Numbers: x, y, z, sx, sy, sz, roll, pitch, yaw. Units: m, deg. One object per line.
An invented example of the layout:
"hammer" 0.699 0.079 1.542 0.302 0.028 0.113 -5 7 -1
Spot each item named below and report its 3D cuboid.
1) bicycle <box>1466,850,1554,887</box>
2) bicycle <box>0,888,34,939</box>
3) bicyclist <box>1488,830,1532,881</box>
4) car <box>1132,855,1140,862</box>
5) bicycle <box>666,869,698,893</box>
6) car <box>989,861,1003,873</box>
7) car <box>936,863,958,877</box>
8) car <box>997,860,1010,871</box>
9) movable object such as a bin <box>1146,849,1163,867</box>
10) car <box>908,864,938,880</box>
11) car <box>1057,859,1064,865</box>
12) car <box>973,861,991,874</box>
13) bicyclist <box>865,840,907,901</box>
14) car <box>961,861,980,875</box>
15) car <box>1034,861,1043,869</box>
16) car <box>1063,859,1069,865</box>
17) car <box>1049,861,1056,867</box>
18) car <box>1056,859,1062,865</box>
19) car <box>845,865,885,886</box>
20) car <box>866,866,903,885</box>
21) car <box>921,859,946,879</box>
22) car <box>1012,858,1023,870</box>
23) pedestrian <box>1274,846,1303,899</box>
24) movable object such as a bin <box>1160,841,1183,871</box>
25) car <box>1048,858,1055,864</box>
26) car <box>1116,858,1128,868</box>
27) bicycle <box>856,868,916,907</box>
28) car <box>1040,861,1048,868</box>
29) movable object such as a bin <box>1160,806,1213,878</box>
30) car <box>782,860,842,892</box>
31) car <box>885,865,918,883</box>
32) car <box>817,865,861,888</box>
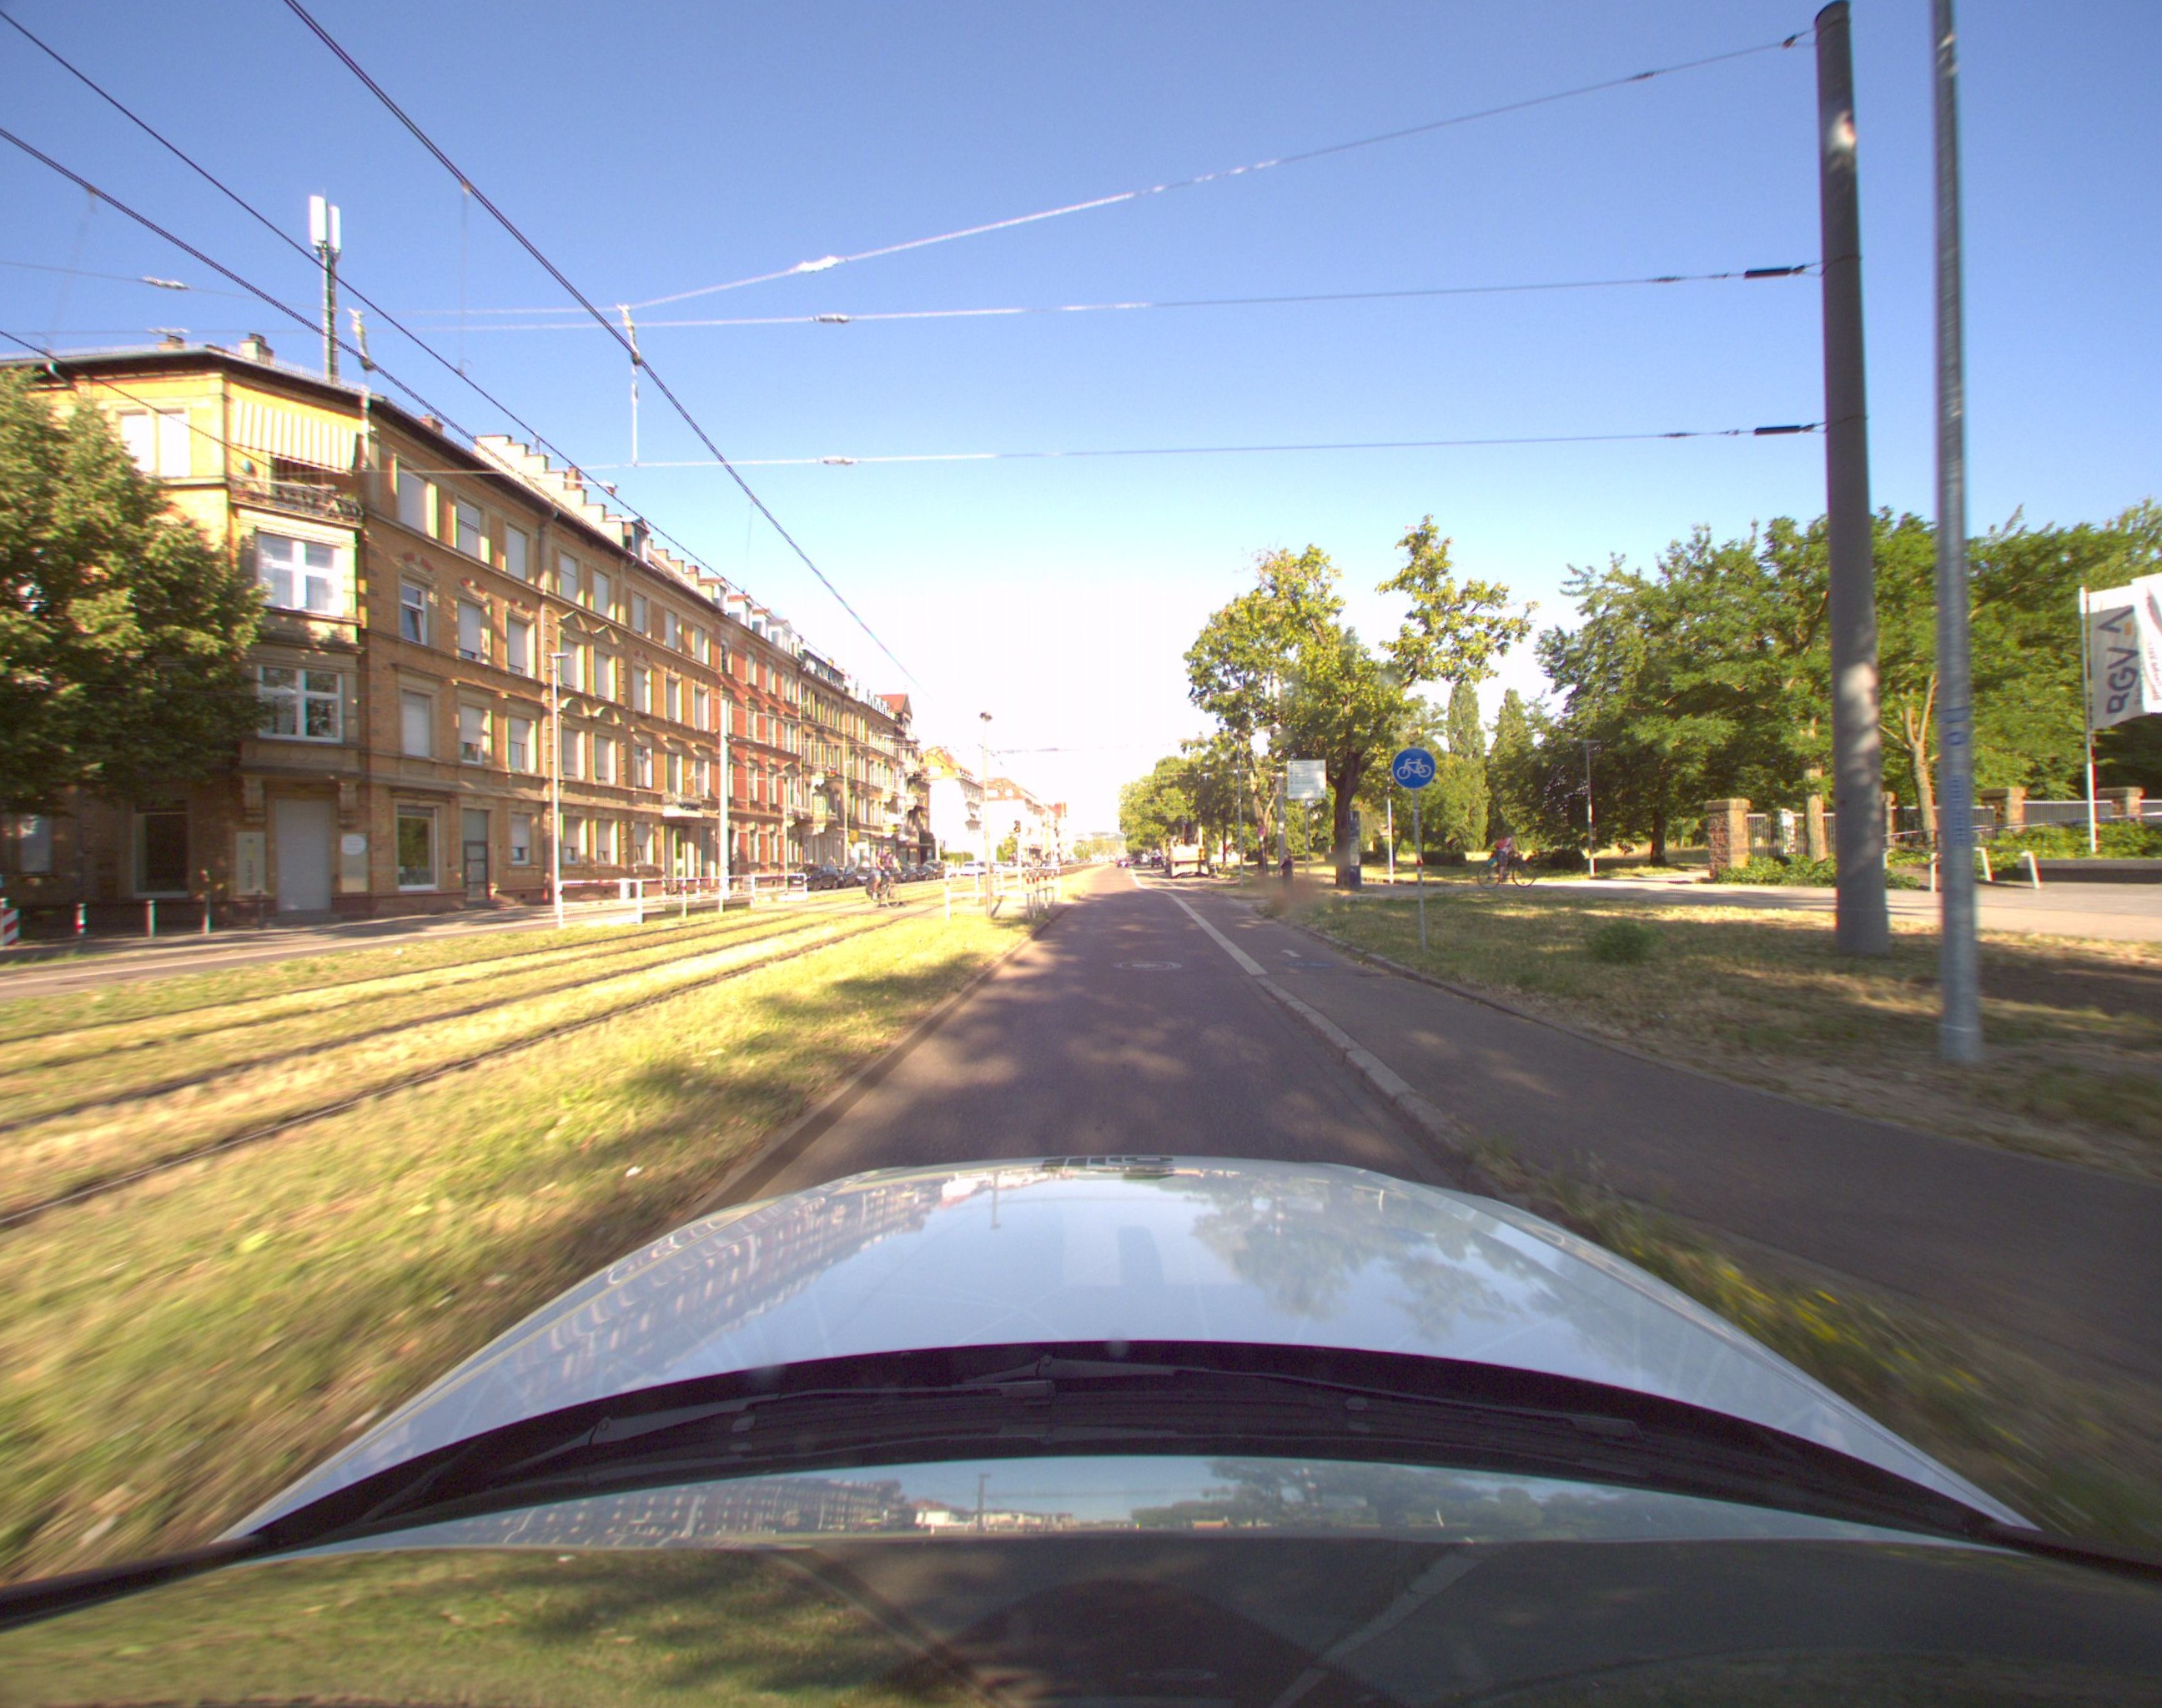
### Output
"bicycle" 12.950 0.431 24.618 2.254 1.040 0.766 -1 0 -2
"bicycle" -26.022 1.409 18.708 0.779 1.179 2.249 1 -1 15
"bicyclist" 12.964 0.056 24.619 0.901 1.496 0.766 -1 0 -2
"car" 15.896 1.298 234.939 1.989 1.860 3.995 1 0 -3
"bicycle" -20.670 1.404 42.202 0.696 1.180 1.752 1 -1 3
"car" -12.314 1.848 117.637 1.521 1.560 3.226 1 1 3
"car" -14.461 1.724 87.996 1.556 1.457 3.667 1 1 3
"car" -12.074 1.793 126.538 1.521 1.560 3.226 1 1 3
"movable object such as a bin" 12.683 0.698 141.036 2.457 2.906 4.002 -4 -1 2
"car" -14.623 1.654 75.480 1.769 1.406 3.982 1 1 3
"car" -5.823 2.357 232.325 1.521 1.610 3.226 1 1 3
"car" -12.810 1.782 105.559 1.734 1.560 3.770 1 1 3
"bicyclist" -5.584 0.467 23.347 0.771 1.715 0.911 -1 0 -45
"car" -13.676 1.737 100.830 1.734 1.560 3.770 1 1 3
"car" -8.744 2.235 166.515 1.521 1.560 3.226 1 1 3
"car" -4.837 2.501 258.529 1.521 1.610 3.226 1 1 3
"car" -7.185 2.511 206.235 1.521 1.560 3.226 1 1 3
"car" -6.213 2.318 227.500 1.521 1.610 3.226 1 1 3
"car" -16.007 1.599 60.442 1.769 1.406 3.912 1 1 3
"car" -15.689 1.696 65.176 1.769 1.406 3.912 1 1 3
"car" -14.659 1.474 81.114 1.556 1.854 3.903 1 1 3
"car" -11.344 1.757 145.782 1.651 2.139 3.528 1 1 3
"pedestrian" 6.643 0.590 26.098 0.658 1.647 0.863 -4 -1 3
"movable object such as a bin" 9.500 0.209 85.875 1.960 3.013 4.799 -4 -1 3
"car" -7.842 1.885 215.141 1.521 1.610 3.226 1 1 3
"car" 7.190 1.495 141.362 1.985 1.684 4.003 1 0 3
"bicycle" -5.601 0.950 23.362 0.771 1.040 1.935 -1 0 -44
"car" -8.501 2.391 189.333 1.521 1.560 3.226 1 1 3
"movable object such as a bin" 8.136 -0.848 63.850 3.075 5.088 8.897 -4 -1 3
"car" -16.671 1.327 50.700 2.007 1.754 4.561 1 1 3
"car" -15.316 1.695 69.688 1.769 1.406 3.912 1 1 3
"car" -16.406 1.516 55.334 1.768 1.466 3.533 1 -1 3
